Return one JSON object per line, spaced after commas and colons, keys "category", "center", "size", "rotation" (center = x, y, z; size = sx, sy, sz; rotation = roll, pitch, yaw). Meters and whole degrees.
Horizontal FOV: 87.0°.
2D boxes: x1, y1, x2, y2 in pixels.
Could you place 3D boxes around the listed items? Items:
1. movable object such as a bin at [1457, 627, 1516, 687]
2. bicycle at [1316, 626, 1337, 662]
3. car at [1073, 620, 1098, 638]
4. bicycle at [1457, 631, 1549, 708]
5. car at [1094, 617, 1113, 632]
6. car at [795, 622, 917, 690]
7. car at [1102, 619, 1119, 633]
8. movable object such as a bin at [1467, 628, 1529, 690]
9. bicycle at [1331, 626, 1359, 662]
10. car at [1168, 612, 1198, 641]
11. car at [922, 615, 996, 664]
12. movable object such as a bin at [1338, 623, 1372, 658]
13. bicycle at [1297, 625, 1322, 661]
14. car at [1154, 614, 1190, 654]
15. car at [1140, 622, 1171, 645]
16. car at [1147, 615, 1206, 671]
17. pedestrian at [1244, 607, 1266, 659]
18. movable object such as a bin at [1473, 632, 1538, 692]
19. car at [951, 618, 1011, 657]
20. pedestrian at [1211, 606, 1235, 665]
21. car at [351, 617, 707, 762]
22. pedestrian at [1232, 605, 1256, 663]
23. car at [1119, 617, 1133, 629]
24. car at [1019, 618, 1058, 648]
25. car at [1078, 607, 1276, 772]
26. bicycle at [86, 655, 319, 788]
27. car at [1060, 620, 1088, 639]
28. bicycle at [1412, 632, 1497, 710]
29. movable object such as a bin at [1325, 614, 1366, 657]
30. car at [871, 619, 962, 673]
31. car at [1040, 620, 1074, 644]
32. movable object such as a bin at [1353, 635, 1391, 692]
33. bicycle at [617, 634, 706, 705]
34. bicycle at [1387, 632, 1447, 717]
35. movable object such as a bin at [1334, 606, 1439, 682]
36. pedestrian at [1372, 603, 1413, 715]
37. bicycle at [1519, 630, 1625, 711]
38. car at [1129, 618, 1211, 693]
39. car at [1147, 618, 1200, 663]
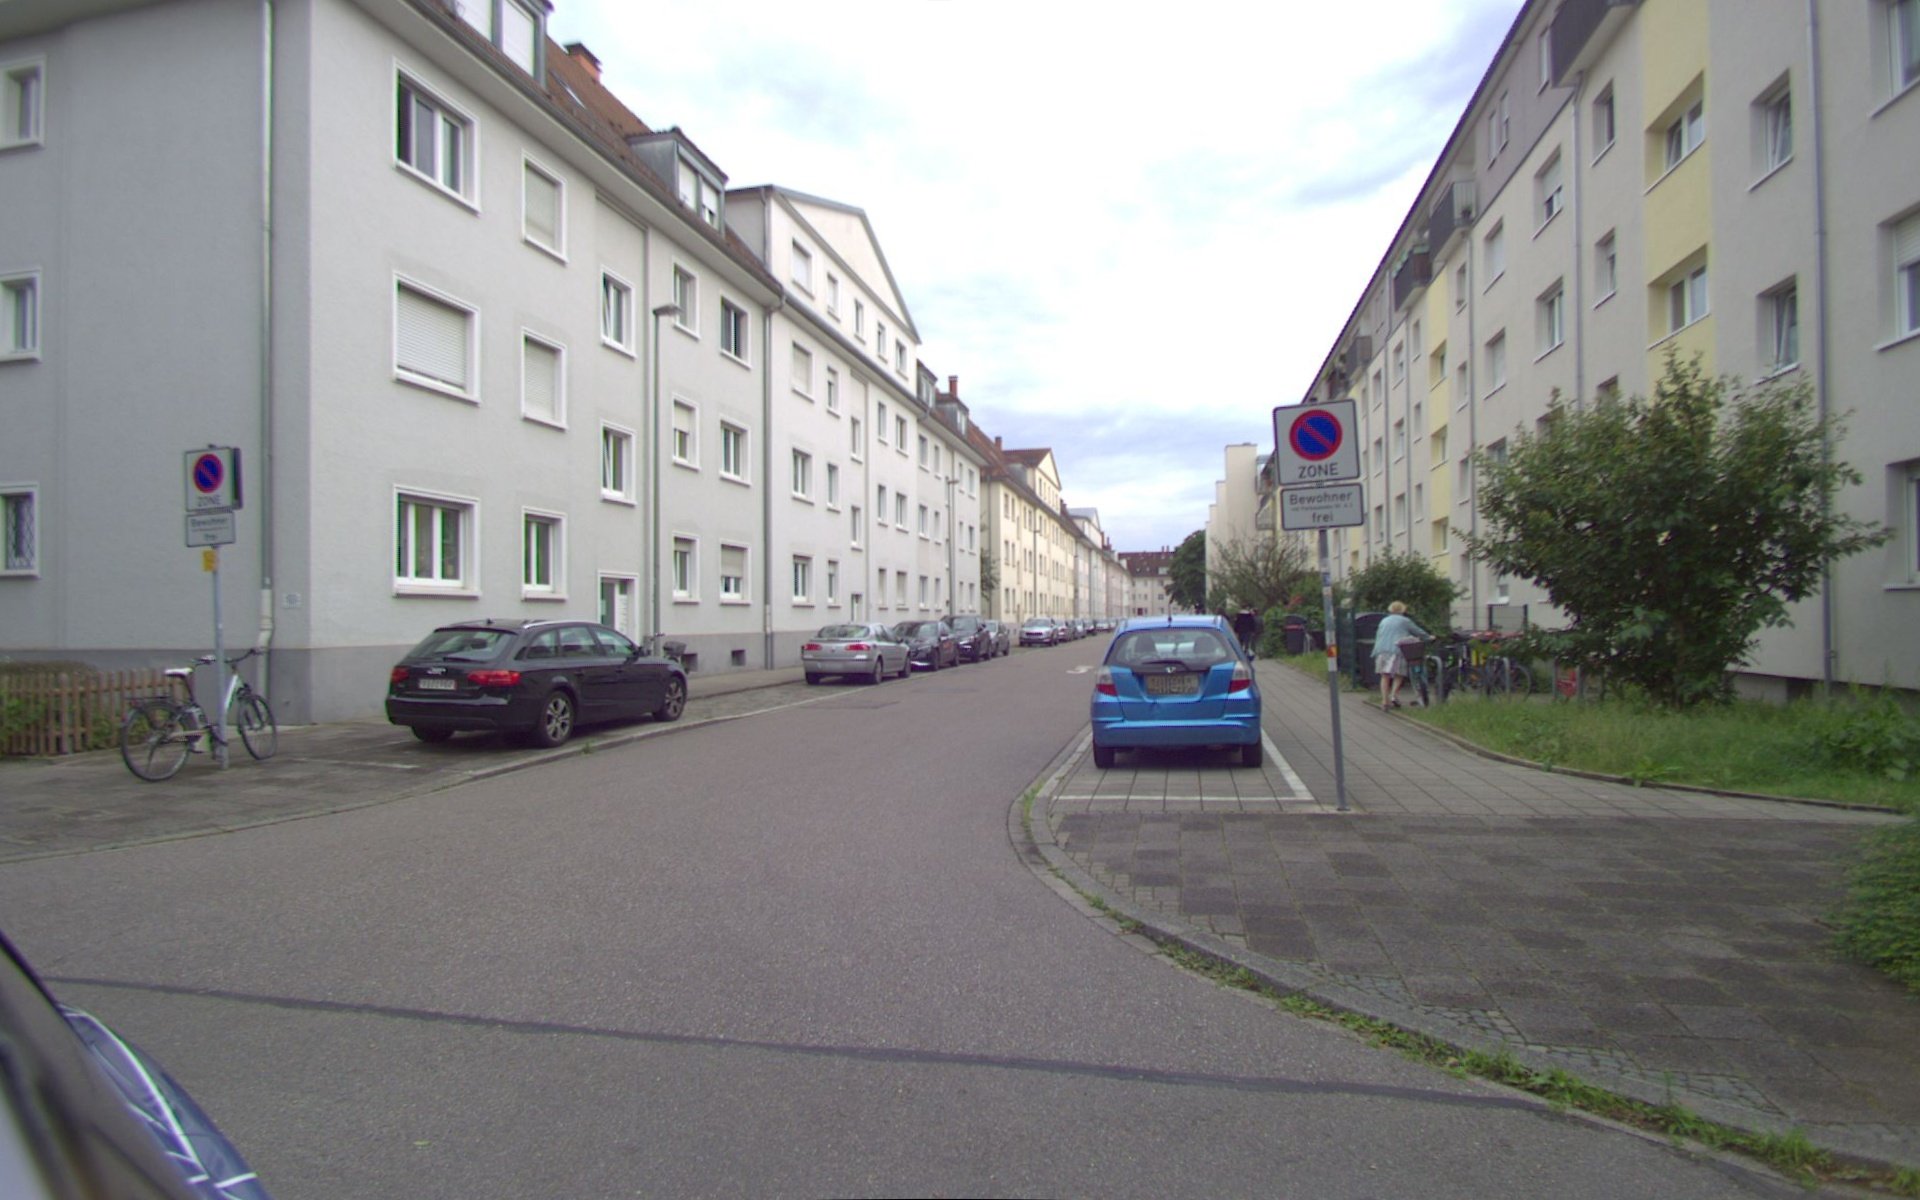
{"category": "movable object such as a bin", "center": [10.060, 1.076, 19.373], "size": [0.835, 1.125, 0.596], "rotation": [-1, -2, 11]}
{"category": "bicycle", "center": [10.856, 1.285, 29.990], "size": [0.353, 1.032, 1.492], "rotation": [-1, -2, 12]}
{"category": "car", "center": [10.281, 2.358, 82.737], "size": [1.720, 1.382, 4.202], "rotation": [0, -1, 11]}
{"category": "bicycle", "center": [8.108, 1.001, 15.200], "size": [0.653, 1.079, 2.165], "rotation": [-1, -2, 13]}
{"category": "car", "center": [14.397, 2.494, 101.393], "size": [1.720, 1.463, 4.202], "rotation": [0, -1, 11]}
{"category": "car", "center": [-2.381, 1.268, 24.334], "size": [1.720, 1.474, 4.415], "rotation": [0, -1, 11]}
{"category": "car", "center": [16.503, 2.869, 110.909], "size": [1.720, 1.463, 4.202], "rotation": [0, -1, 11]}
{"category": "movable object such as a bin", "center": [9.941, 1.075, 18.721], "size": [0.835, 1.125, 0.596], "rotation": [-1, -2, 11]}
{"category": "bicycle", "center": [11.317, 1.271, 29.793], "size": [0.475, 1.032, 1.748], "rotation": [-1, -2, 12]}
{"category": "car", "center": [14.296, 1.727, 65.002], "size": [1.689, 1.820, 3.531], "rotation": [-1, -2, 10]}
{"category": "car", "center": [0.048, 1.356, 35.325], "size": [1.834, 1.611, 4.145], "rotation": [0, -1, 11]}
{"category": "movable object such as a bin", "center": [13.116, 1.334, 33.634], "size": [0.862, 1.117, 0.785], "rotation": [-1, 0, 9]}
{"category": "bicycle", "center": [10.416, 1.276, 30.203], "size": [0.484, 1.032, 1.871], "rotation": [-1, -2, 12]}
{"category": "car", "center": [10.095, 1.608, 48.225], "size": [1.559, 1.794, 4.435], "rotation": [-1, -2, 12]}
{"category": "car", "center": [11.606, 1.994, 60.024], "size": [1.664, 1.325, 3.891], "rotation": [-1, -2, 13]}
{"category": "car", "center": [6.764, 1.311, 31.807], "size": [1.673, 1.651, 3.714], "rotation": [-1, -1, 11]}
{"category": "pedestrian", "center": [9.753, 1.091, 33.468], "size": [0.610, 1.669, 0.800], "rotation": [-1, -2, 13]}
{"category": "movable object such as a bin", "center": [9.767, 1.103, 18.139], "size": [0.857, 1.059, 0.631], "rotation": [-1, -2, 12]}
{"category": "car", "center": [0.885, 1.471, 40.305], "size": [1.720, 1.498, 3.741], "rotation": [0, -1, 12]}
{"category": "pedestrian", "center": [8.692, 1.167, 33.447], "size": [0.636, 1.878, 0.970], "rotation": [-3, -2, 13]}
{"category": "car", "center": [-5.116, 0.970, 12.891], "size": [1.847, 1.474, 4.708], "rotation": [0, -1, 11]}
{"category": "pedestrian", "center": [9.290, 1.097, 33.104], "size": [0.701, 1.868, 0.760], "rotation": [-1, -2, 13]}
{"category": "car", "center": [22.803, 3.187, 139.125], "size": [1.720, 1.692, 3.579], "rotation": [0, -1, 11]}
{"category": "car", "center": [4.335, 1.800, 55.633], "size": [1.720, 1.559, 3.664], "rotation": [0, -1, 11]}
{"category": "car", "center": [2.416, 0.893, 11.335], "size": [1.718, 1.474, 3.941], "rotation": [-3, -2, 12]}
{"category": "bicycle", "center": [-7.157, 1.098, 9.694], "size": [0.563, 1.011, 1.881], "rotation": [1, 1, 13]}
{"category": "car", "center": [8.510, 2.191, 75.269], "size": [1.720, 1.421, 4.202], "rotation": [0, -1, 11]}
{"category": "bicycle", "center": [7.288, 1.010, 15.006], "size": [0.653, 1.076, 2.112], "rotation": [-1, -2, 13]}
{"category": "movable object such as a bin", "center": [13.208, 1.205, 34.708], "size": [1.047, 1.385, 1.186], "rotation": [-1, 0, 8]}
{"category": "car", "center": [-1.201, 1.309, 30.022], "size": [1.768, 1.474, 4.307], "rotation": [0, -1, 11]}
{"category": "car", "center": [6.200, 2.012, 64.311], "size": [1.720, 1.437, 4.201], "rotation": [0, -1, 12]}
{"category": "movable object such as a bin", "center": [7.668, 1.171, 18.863], "size": [0.533, 1.041, 0.596], "rotation": [-1, -2, 12]}
{"category": "bicycle", "center": [-5.471, 1.252, 18.679], "size": [0.743, 1.209, 1.887], "rotation": [1, -1, 13]}
{"category": "bicycle", "center": [6.443, 1.022, 14.331], "size": [0.533, 1.128, 1.808], "rotation": [-1, -2, 17]}
{"category": "movable object such as a bin", "center": [8.415, 0.865, 20.101], "size": [1.578, 1.432, 1.665], "rotation": [-1, -2, 12]}
{"category": "pedestrian", "center": [6.200, 0.837, 14.522], "size": [0.444, 1.561, 0.564], "rotation": [-1, -2, 17]}
{"category": "bicycle", "center": [8.831, 0.985, 14.704], "size": [0.653, 1.079, 2.165], "rotation": [-1, -2, 13]}
{"category": "car", "center": [4.813, 1.216, 23.081], "size": [1.643, 1.562, 3.899], "rotation": [-1, -2, 13]}
{"category": "car", "center": [7.800, 1.469, 37.294], "size": [1.705, 1.521, 4.672], "rotation": [-1, -2, 10]}
